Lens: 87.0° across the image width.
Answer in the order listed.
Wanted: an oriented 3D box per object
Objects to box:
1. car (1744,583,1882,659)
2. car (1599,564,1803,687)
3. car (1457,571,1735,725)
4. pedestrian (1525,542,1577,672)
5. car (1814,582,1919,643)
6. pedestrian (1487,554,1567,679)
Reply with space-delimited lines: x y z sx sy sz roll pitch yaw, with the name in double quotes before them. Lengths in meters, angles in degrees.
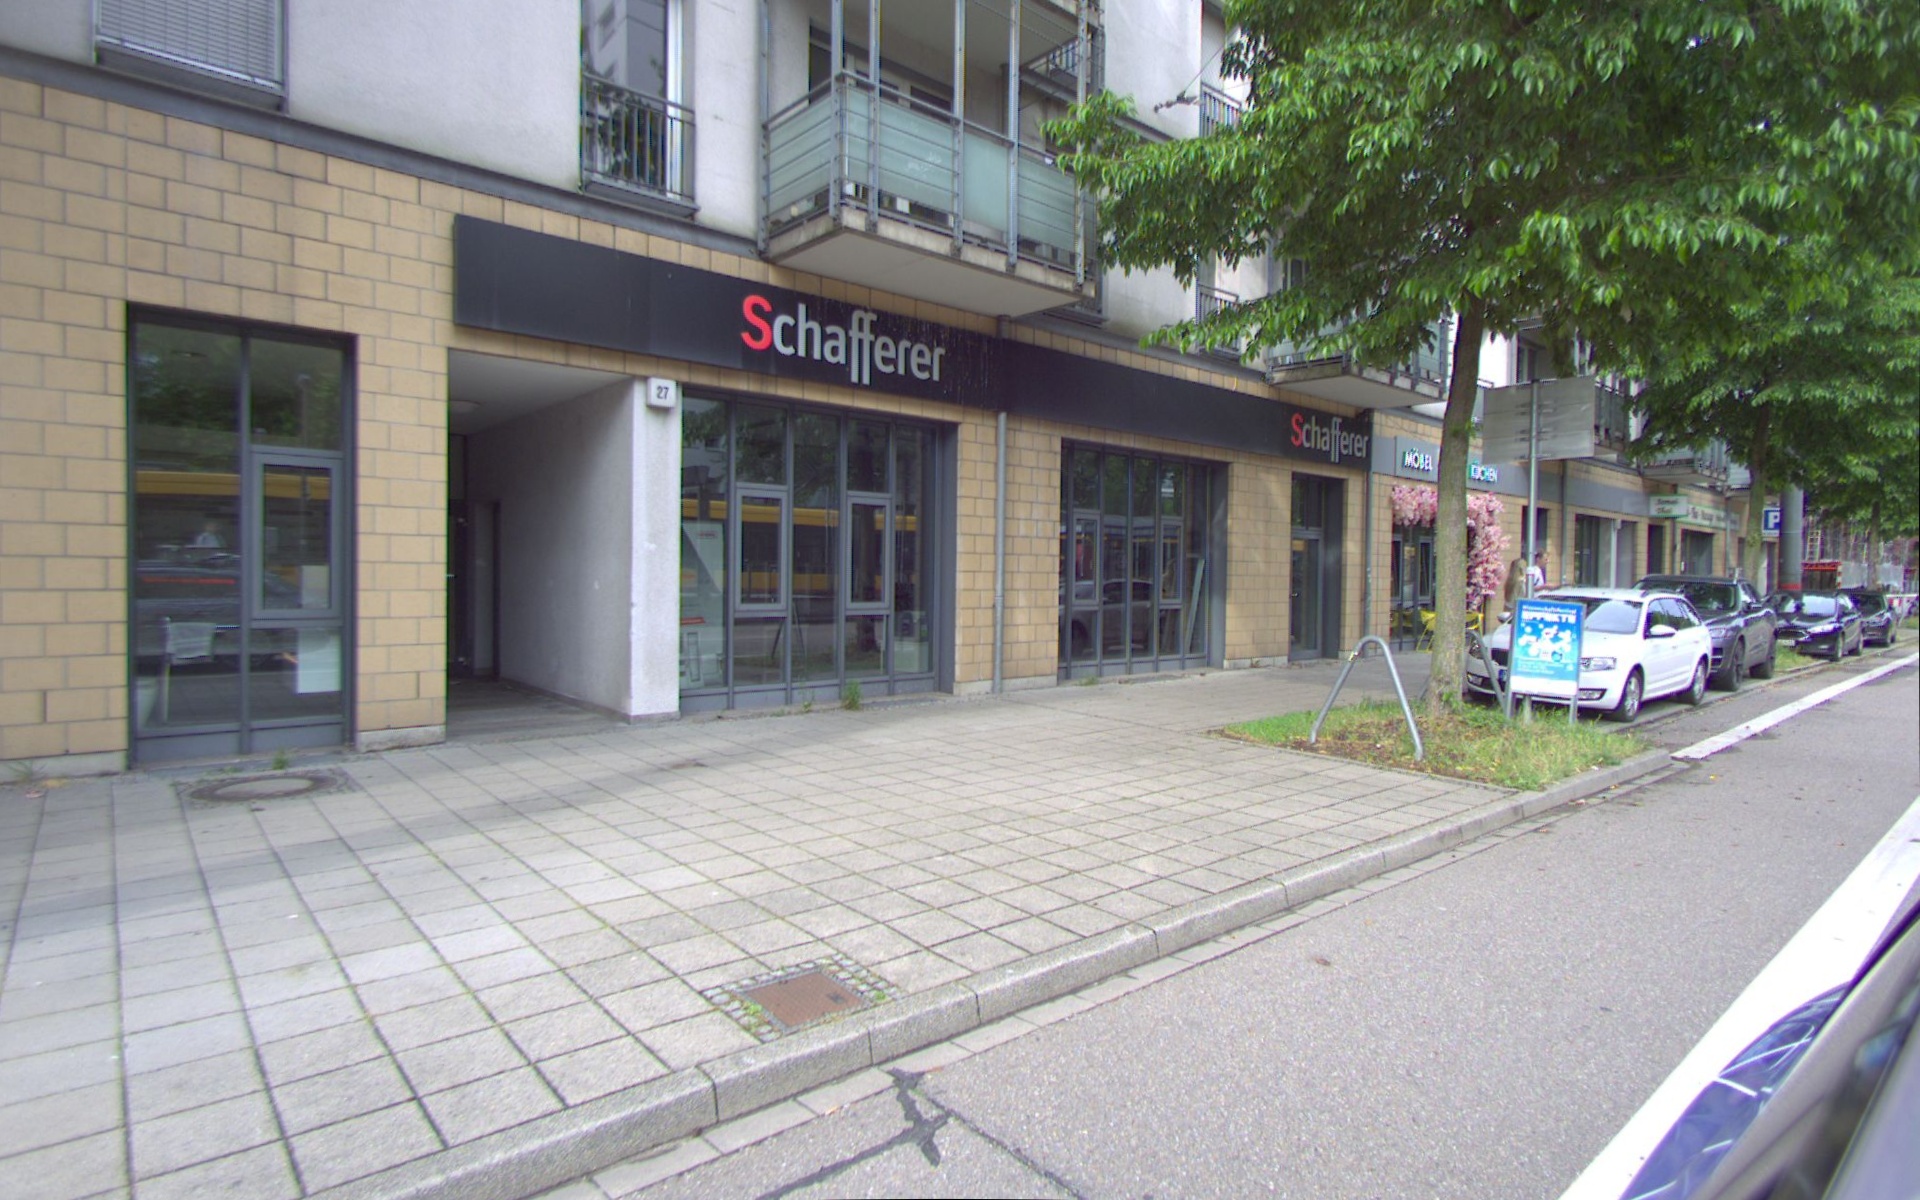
"car" 18.628 0.386 22.049 4.095 1.394 1.612 -1 5 -41
"car" 11.787 0.318 16.032 3.732 1.630 1.738 -1 5 -41
"car" 8.115 0.473 12.759 4.233 1.539 1.738 -1 5 -41
"pedestrian" 8.940 0.091 15.325 0.593 1.907 0.651 1 1 25
"car" 24.149 0.288 26.875 3.603 1.417 1.612 -1 5 -41
"pedestrian" 8.127 0.219 14.531 0.724 1.738 0.618 1 2 0
